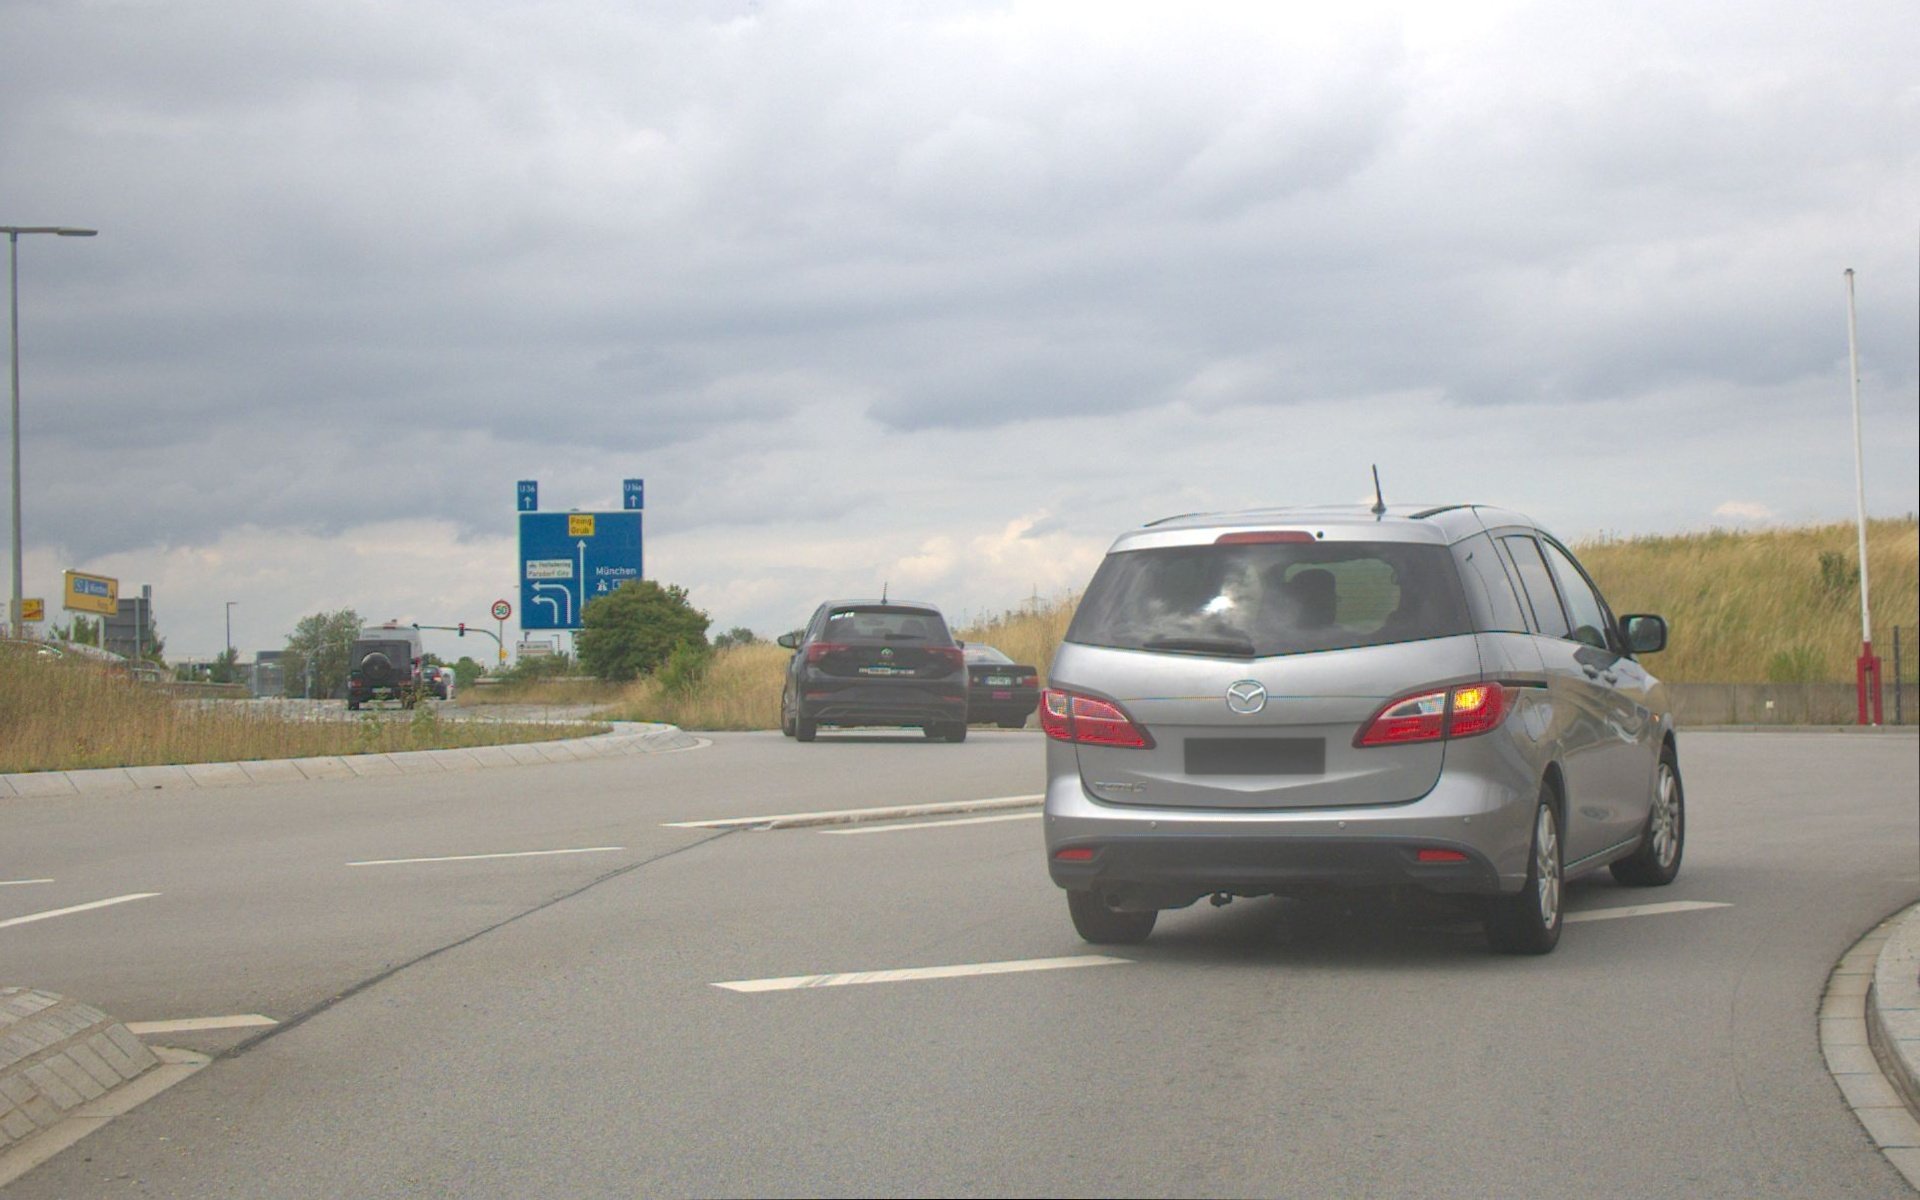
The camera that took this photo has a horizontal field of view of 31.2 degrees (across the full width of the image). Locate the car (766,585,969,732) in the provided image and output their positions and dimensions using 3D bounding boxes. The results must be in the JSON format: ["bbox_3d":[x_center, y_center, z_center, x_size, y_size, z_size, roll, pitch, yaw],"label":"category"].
[{"bbox_3d":[-1.010,0.562,35.471,1.661,1.373,4.001,-2,0,-7],"label":"car"}]

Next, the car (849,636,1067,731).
[{"bbox_3d":[-0.078,1.203,50.769,1.598,1.284,4.046,-2,1,-26],"label":"car"}]

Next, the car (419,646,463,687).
[{"bbox_3d":[-21.505,2.737,142.281,1.598,1.543,4.047,-2,0,-11],"label":"car"}]

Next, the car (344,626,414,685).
[{"bbox_3d":[-16.180,1.525,95.617,1.598,1.543,4.047,-2,0,-13],"label":"car"}]

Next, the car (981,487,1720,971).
[{"bbox_3d":[1.682,0.429,13.337,1.913,1.568,3.996,-2,0,20],"label":"car"}]

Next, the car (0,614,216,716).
[{"bbox_3d":[-12.357,0.905,48.230,3.996,1.335,1.661,-1,0,41],"label":"car"}]
